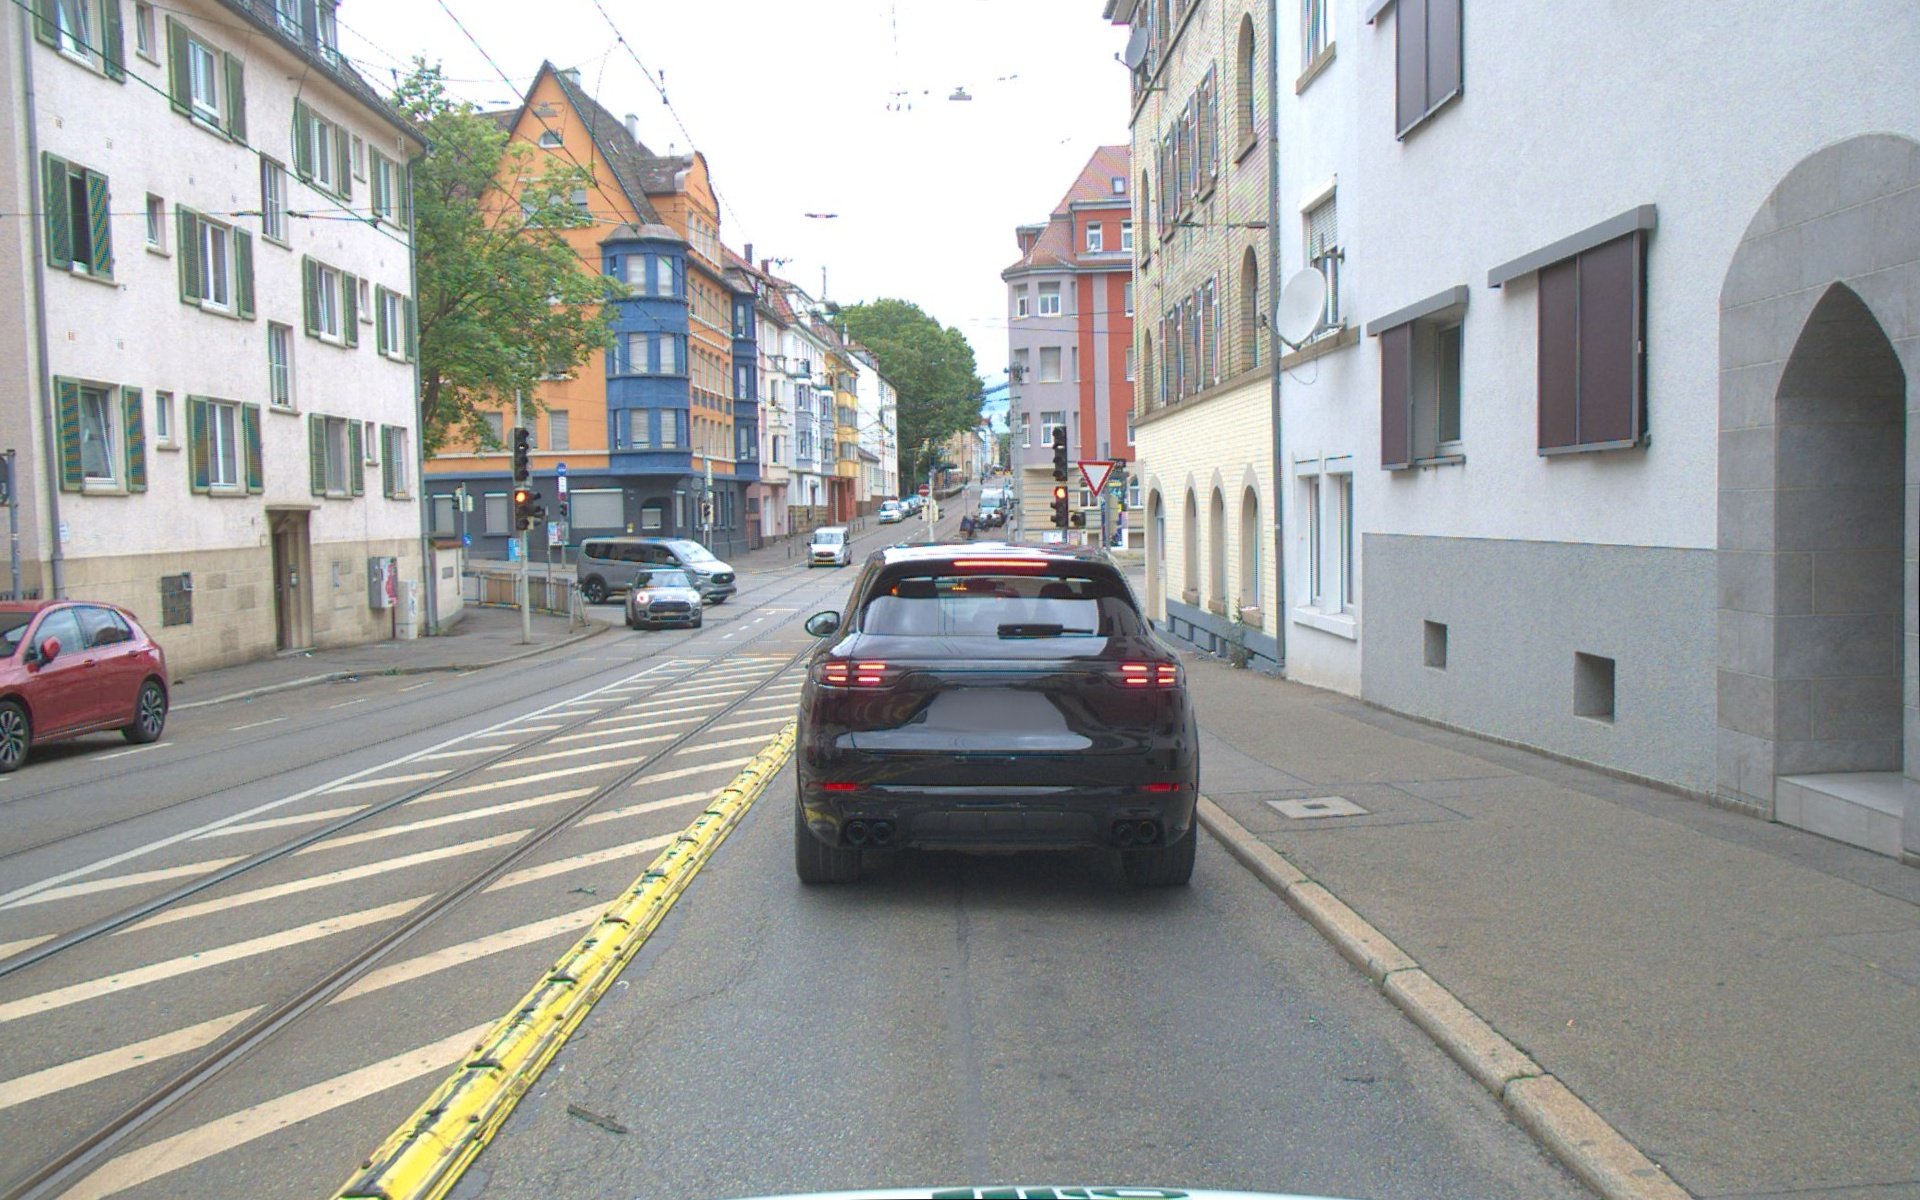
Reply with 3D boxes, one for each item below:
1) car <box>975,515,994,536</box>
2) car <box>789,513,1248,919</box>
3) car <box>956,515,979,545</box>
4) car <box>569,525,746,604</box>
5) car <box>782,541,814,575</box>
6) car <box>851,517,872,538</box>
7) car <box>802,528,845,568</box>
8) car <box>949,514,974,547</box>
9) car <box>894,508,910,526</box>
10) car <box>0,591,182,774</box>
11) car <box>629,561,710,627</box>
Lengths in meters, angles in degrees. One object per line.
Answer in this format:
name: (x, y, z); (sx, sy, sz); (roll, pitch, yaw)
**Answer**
car: (1.904, -5.743, 127.633); (1.366, 1.476, 3.358); (-1, 1, 0)
car: (0.211, 0.471, 9.146); (1.953, 1.705, 3.999); (-1, 1, -1)
car: (0.451, -4.323, 102.340); (1.366, 1.752, 3.358); (-1, 1, 0)
car: (-9.492, -1.108, 51.837); (5.183, 2.278, 2.000); (0, 4, 24)
car: (-8.691, -2.242, 88.764); (1.366, 1.752, 3.358); (-1, 1, 0)
car: (-7.495, -5.499, 125.609); (1.366, 1.476, 3.358); (-1, 1, 0)
car: (-6.527, -2.481, 79.627); (1.715, 1.790, 4.254); (-1, 1, 0)
car: (0.071, -3.986, 95.548); (1.366, 1.752, 3.358); (-1, 1, 0)
car: (-5.331, -7.683, 153.295); (1.366, 1.476, 3.358); (-1, 1, 0)
car: (-8.823, 0.709, 15.126); (1.588, 1.516, 4.045); (-2, 0, -2)
car: (-7.199, -0.158, 41.228); (1.602, 1.534, 3.537); (-1, 1, -4)
